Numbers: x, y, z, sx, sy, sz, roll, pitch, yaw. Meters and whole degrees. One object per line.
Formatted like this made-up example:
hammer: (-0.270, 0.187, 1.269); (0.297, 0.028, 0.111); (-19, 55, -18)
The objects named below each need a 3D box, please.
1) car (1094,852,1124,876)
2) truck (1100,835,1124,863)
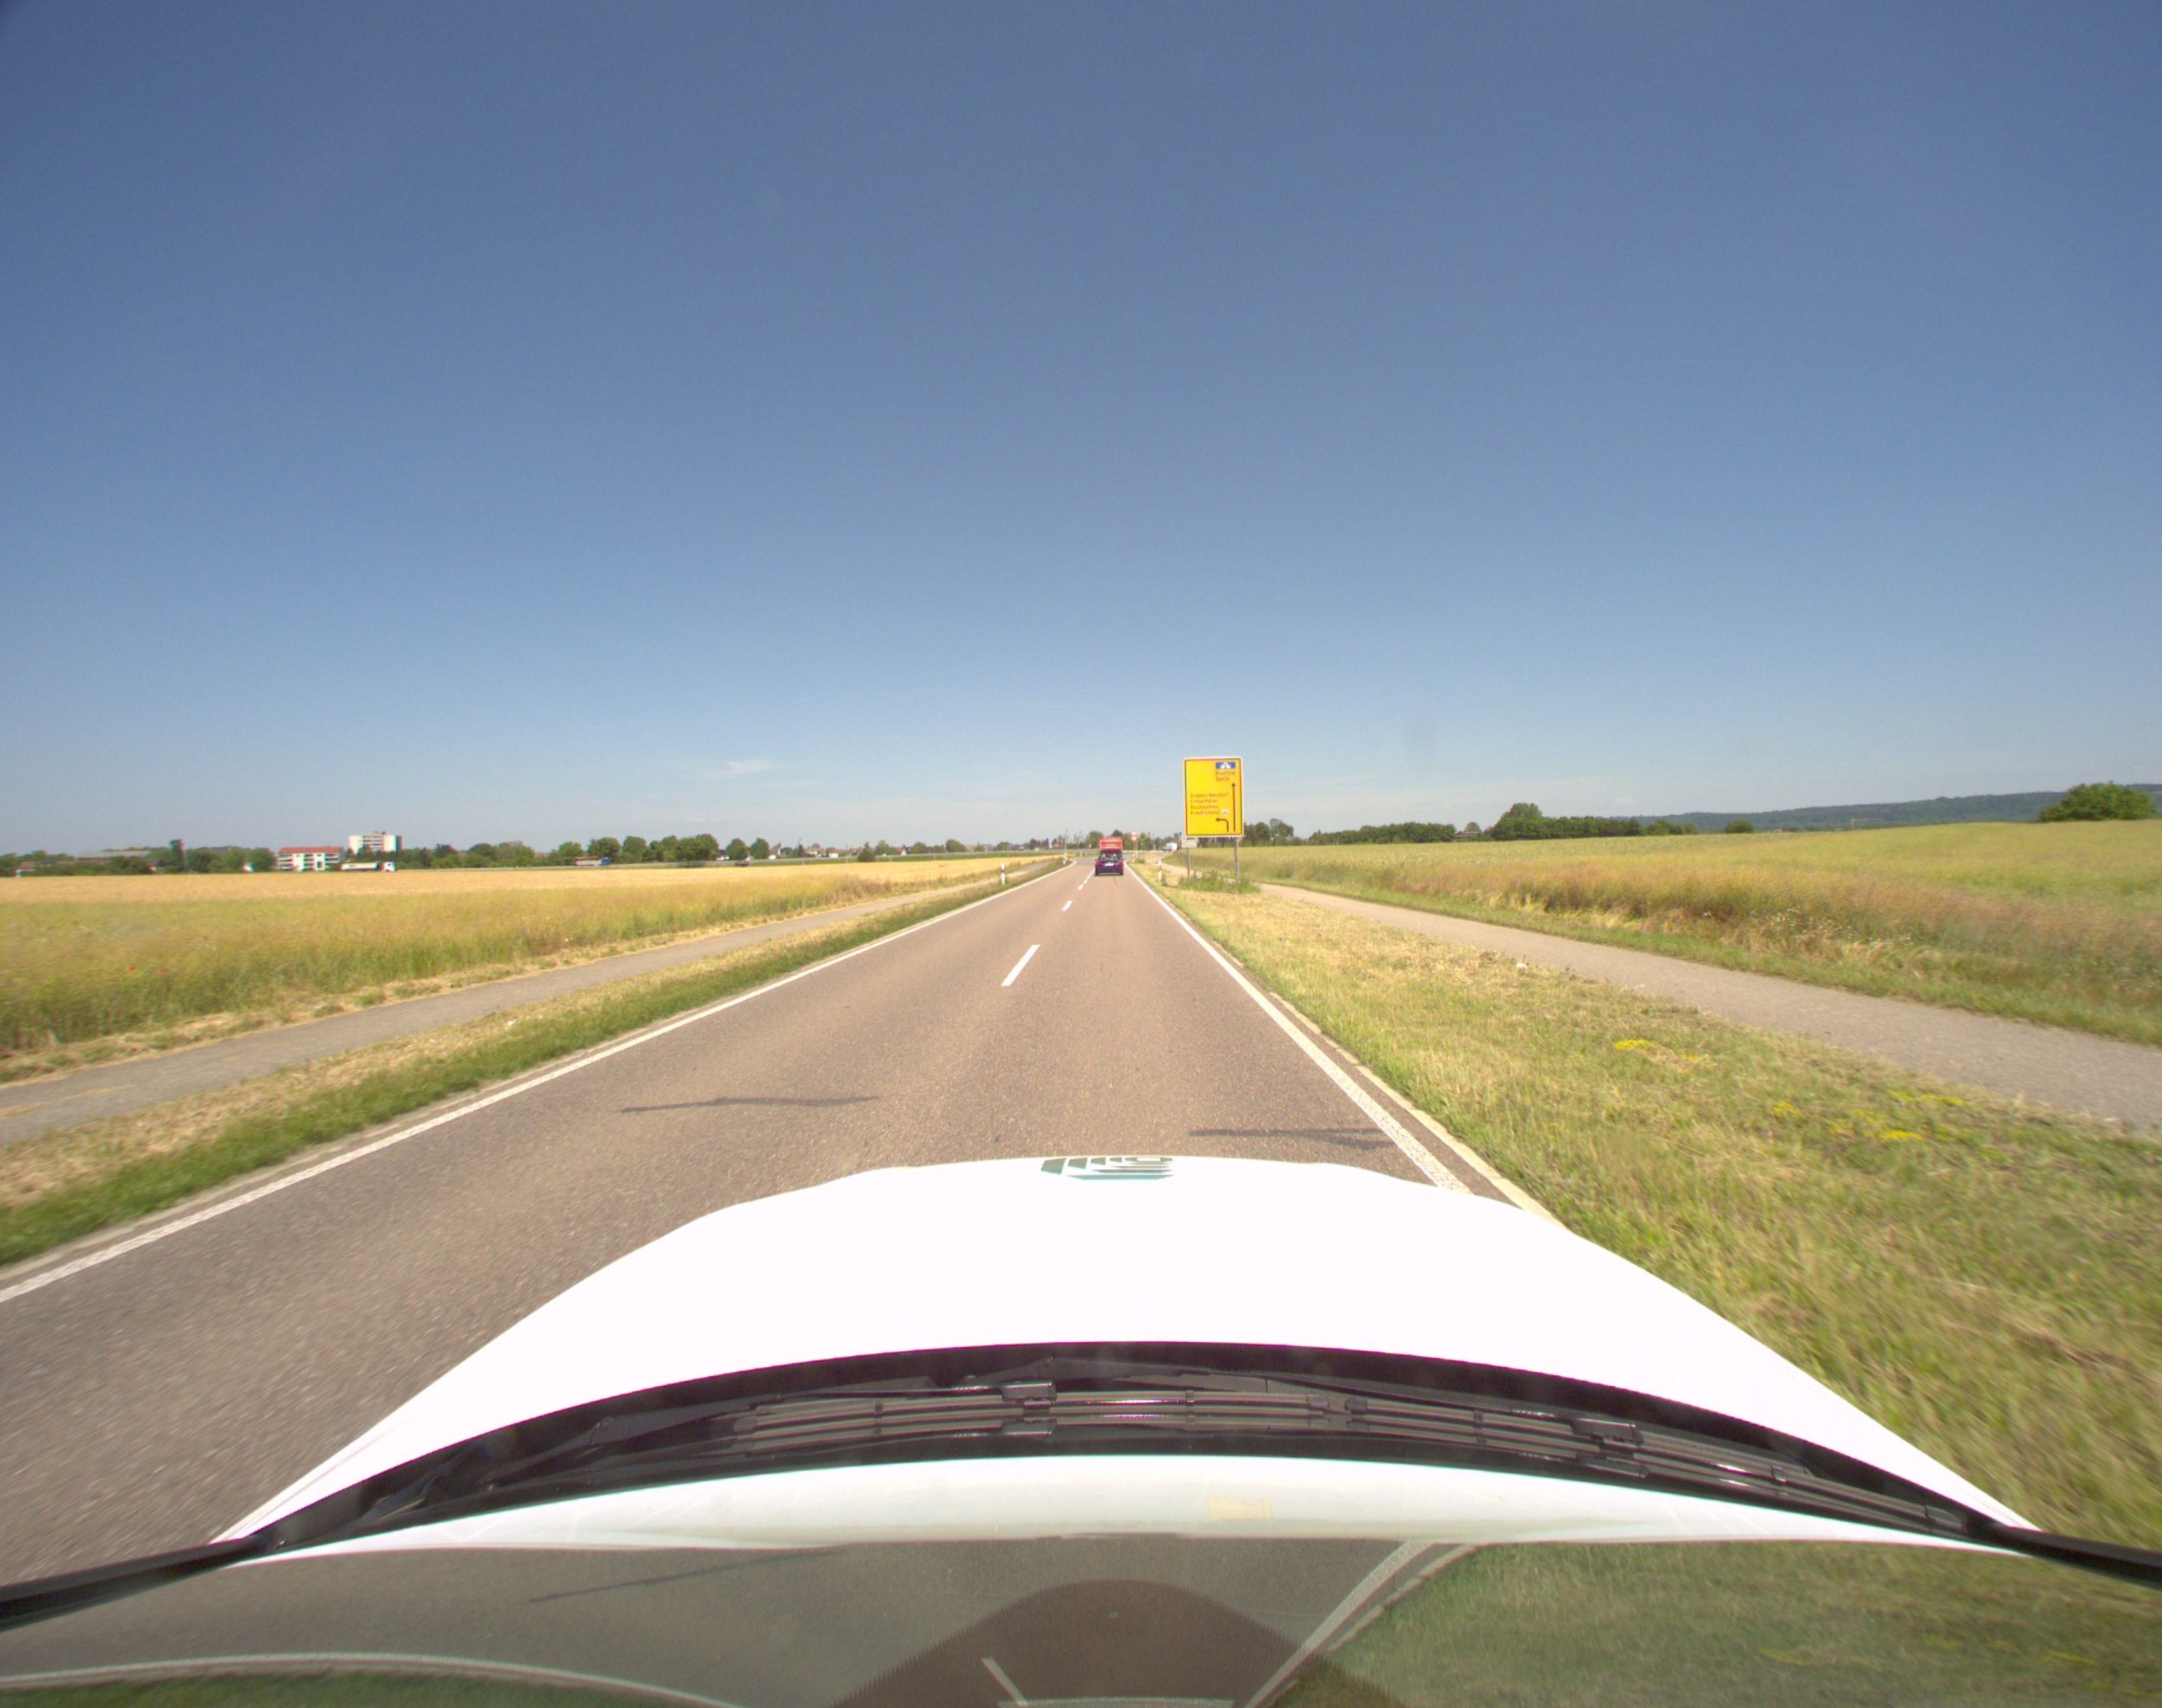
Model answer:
car: (1.747, 0.607, 50.611); (1.741, 1.375, 3.681); (1, 0, 2)
truck: (3.532, -0.467, 93.196); (2.703, 3.052, 8.168); (0, 0, 2)
